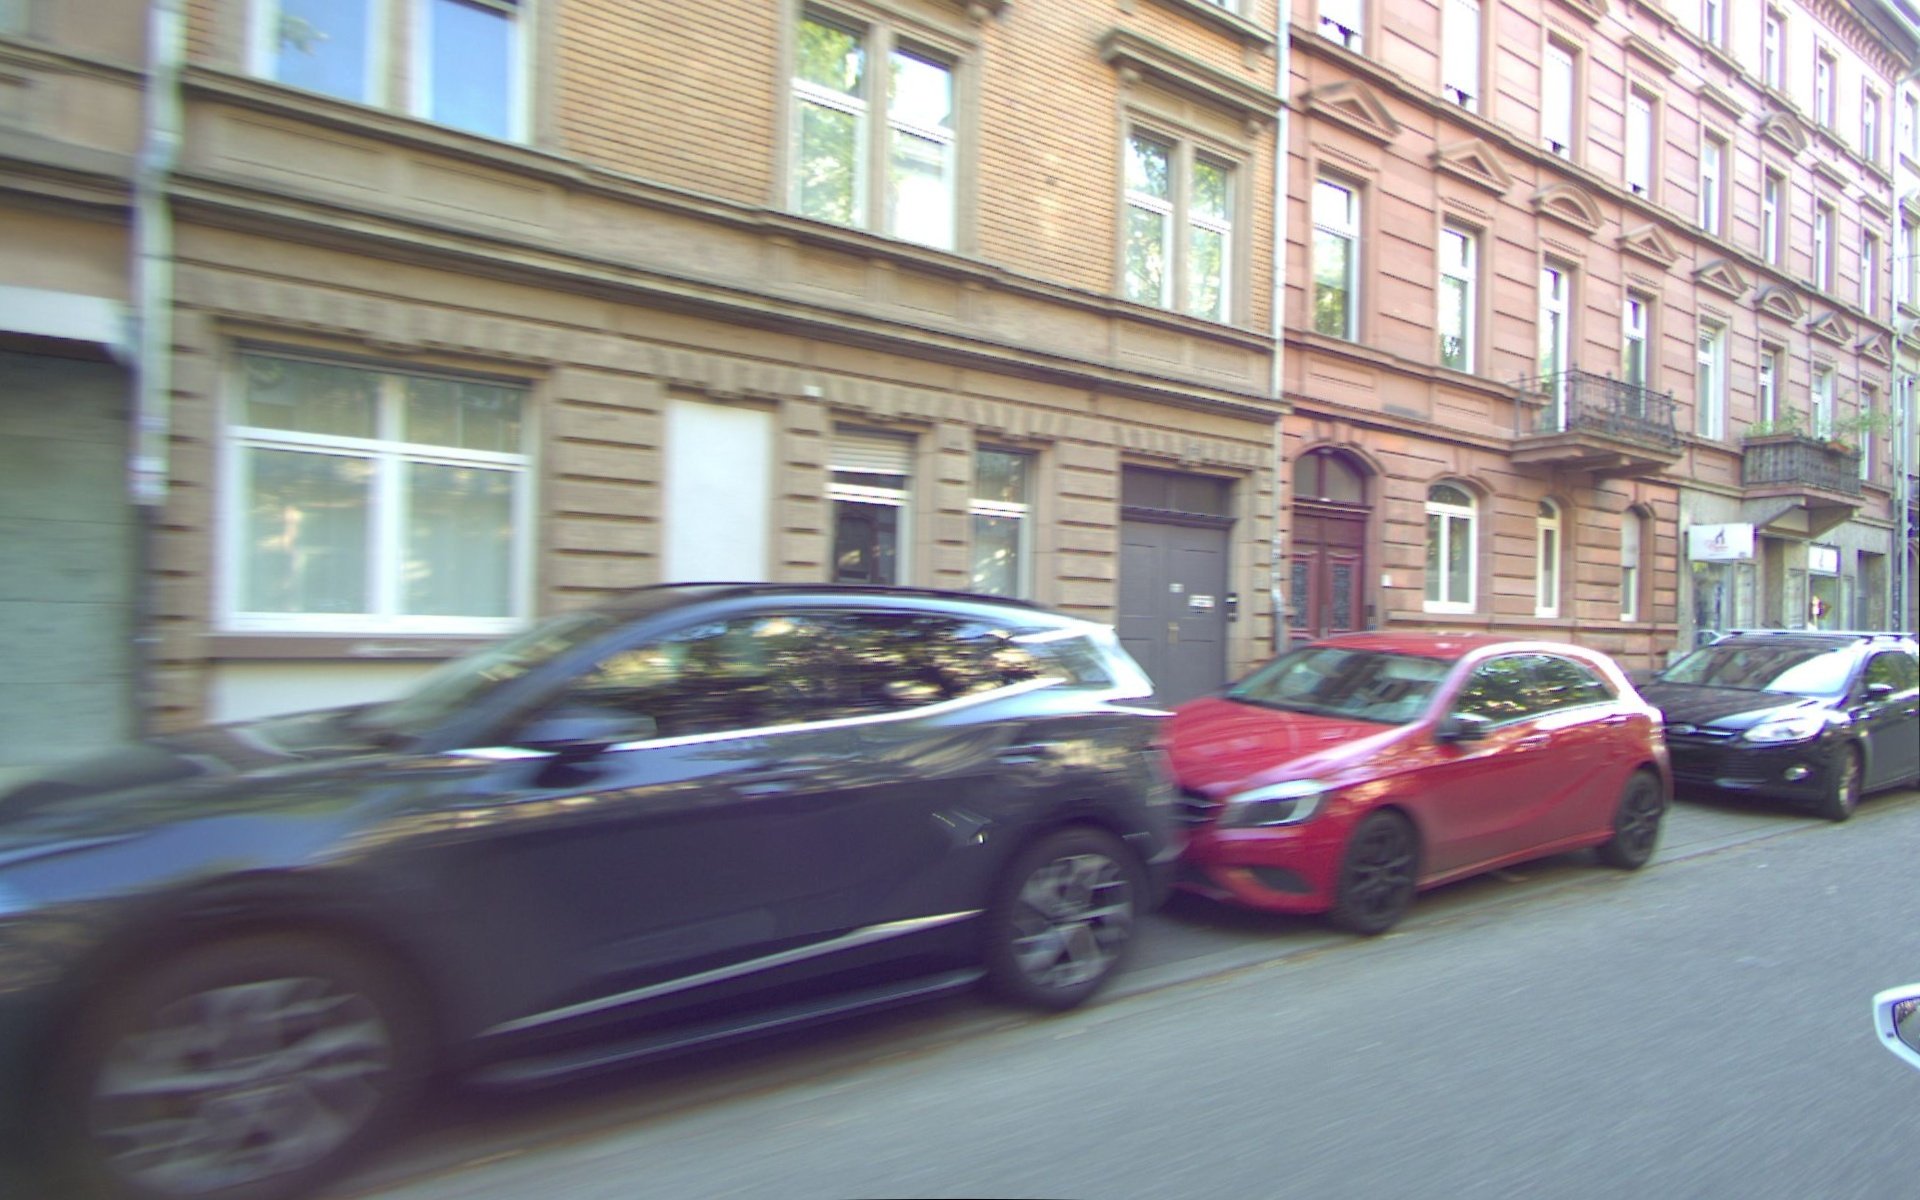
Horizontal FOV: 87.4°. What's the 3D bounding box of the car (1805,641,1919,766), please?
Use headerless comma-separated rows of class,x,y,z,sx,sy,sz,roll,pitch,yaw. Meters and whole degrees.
car,12.249,1.205,12.350,4.055,1.340,1.696,1,-1,-32

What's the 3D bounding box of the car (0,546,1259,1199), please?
car,-1.005,0.712,3.942,4.266,1.621,1.811,1,0,-32

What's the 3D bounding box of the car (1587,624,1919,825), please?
car,8.182,1.029,9.762,4.374,1.497,1.811,1,0,-32

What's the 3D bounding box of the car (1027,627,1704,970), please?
car,2.684,0.939,6.347,4.266,1.445,1.811,1,0,-32
